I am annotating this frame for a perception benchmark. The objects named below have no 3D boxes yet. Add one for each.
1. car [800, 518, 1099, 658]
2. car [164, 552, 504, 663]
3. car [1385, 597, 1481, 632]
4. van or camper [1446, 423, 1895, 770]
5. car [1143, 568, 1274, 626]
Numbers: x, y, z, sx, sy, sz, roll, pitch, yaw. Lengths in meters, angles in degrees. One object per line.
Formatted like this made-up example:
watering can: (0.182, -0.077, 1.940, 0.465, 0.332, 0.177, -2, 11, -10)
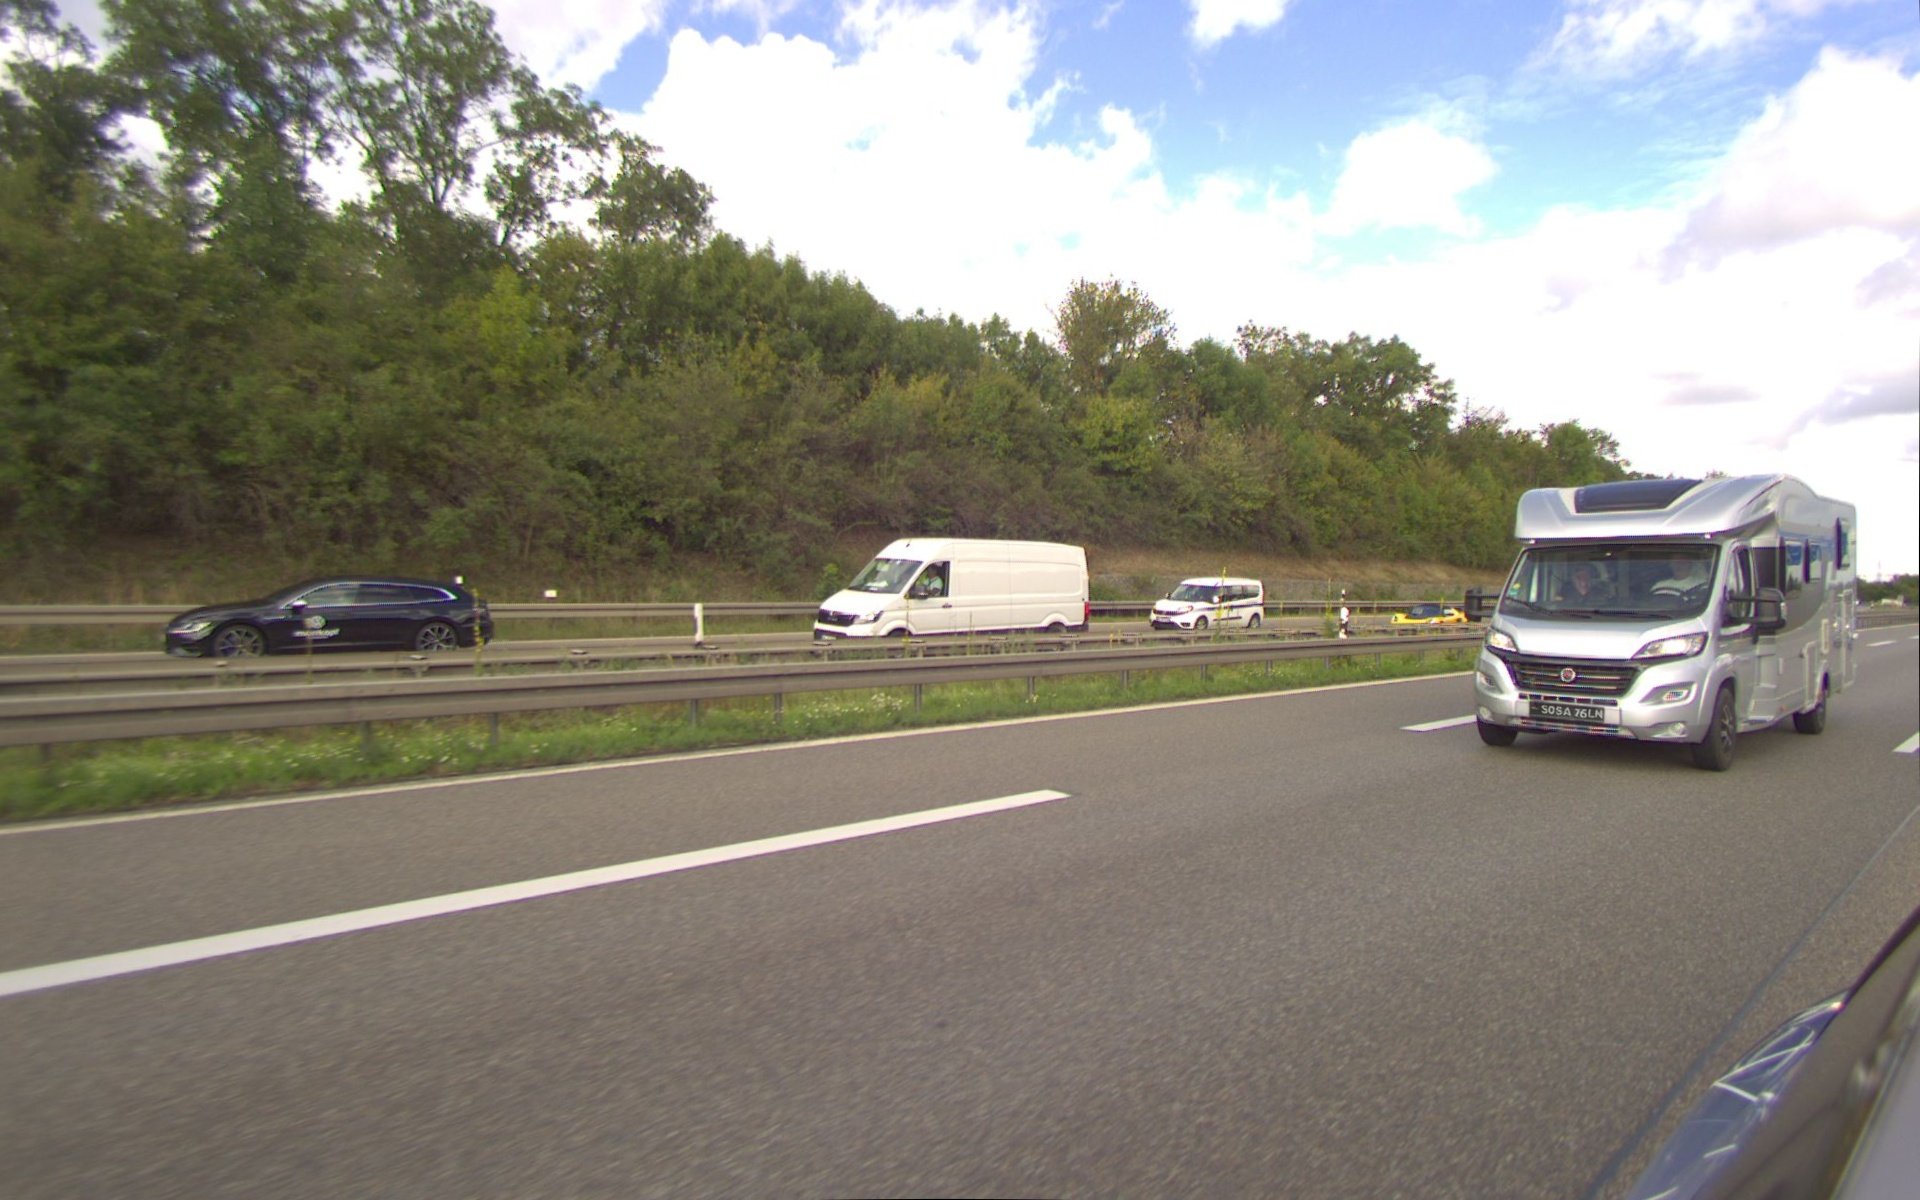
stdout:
car: (-0.027, -0.248, 21.632, 6.625, 2.586, 2.074, 0, 1, -41)
car: (-10.518, 0.076, 17.246, 4.682, 1.622, 1.846, 0, 3, -42)
car: (17.287, 0.493, 36.933, 4.096, 1.196, 1.714, 0, 0, -42)
van or camper: (8.394, -0.046, 11.472, 7.528, 2.756, 2.472, 0, 0, -41)
car: (8.243, -0.099, 33.350, 4.680, 1.774, 1.846, 0, 0, -41)
